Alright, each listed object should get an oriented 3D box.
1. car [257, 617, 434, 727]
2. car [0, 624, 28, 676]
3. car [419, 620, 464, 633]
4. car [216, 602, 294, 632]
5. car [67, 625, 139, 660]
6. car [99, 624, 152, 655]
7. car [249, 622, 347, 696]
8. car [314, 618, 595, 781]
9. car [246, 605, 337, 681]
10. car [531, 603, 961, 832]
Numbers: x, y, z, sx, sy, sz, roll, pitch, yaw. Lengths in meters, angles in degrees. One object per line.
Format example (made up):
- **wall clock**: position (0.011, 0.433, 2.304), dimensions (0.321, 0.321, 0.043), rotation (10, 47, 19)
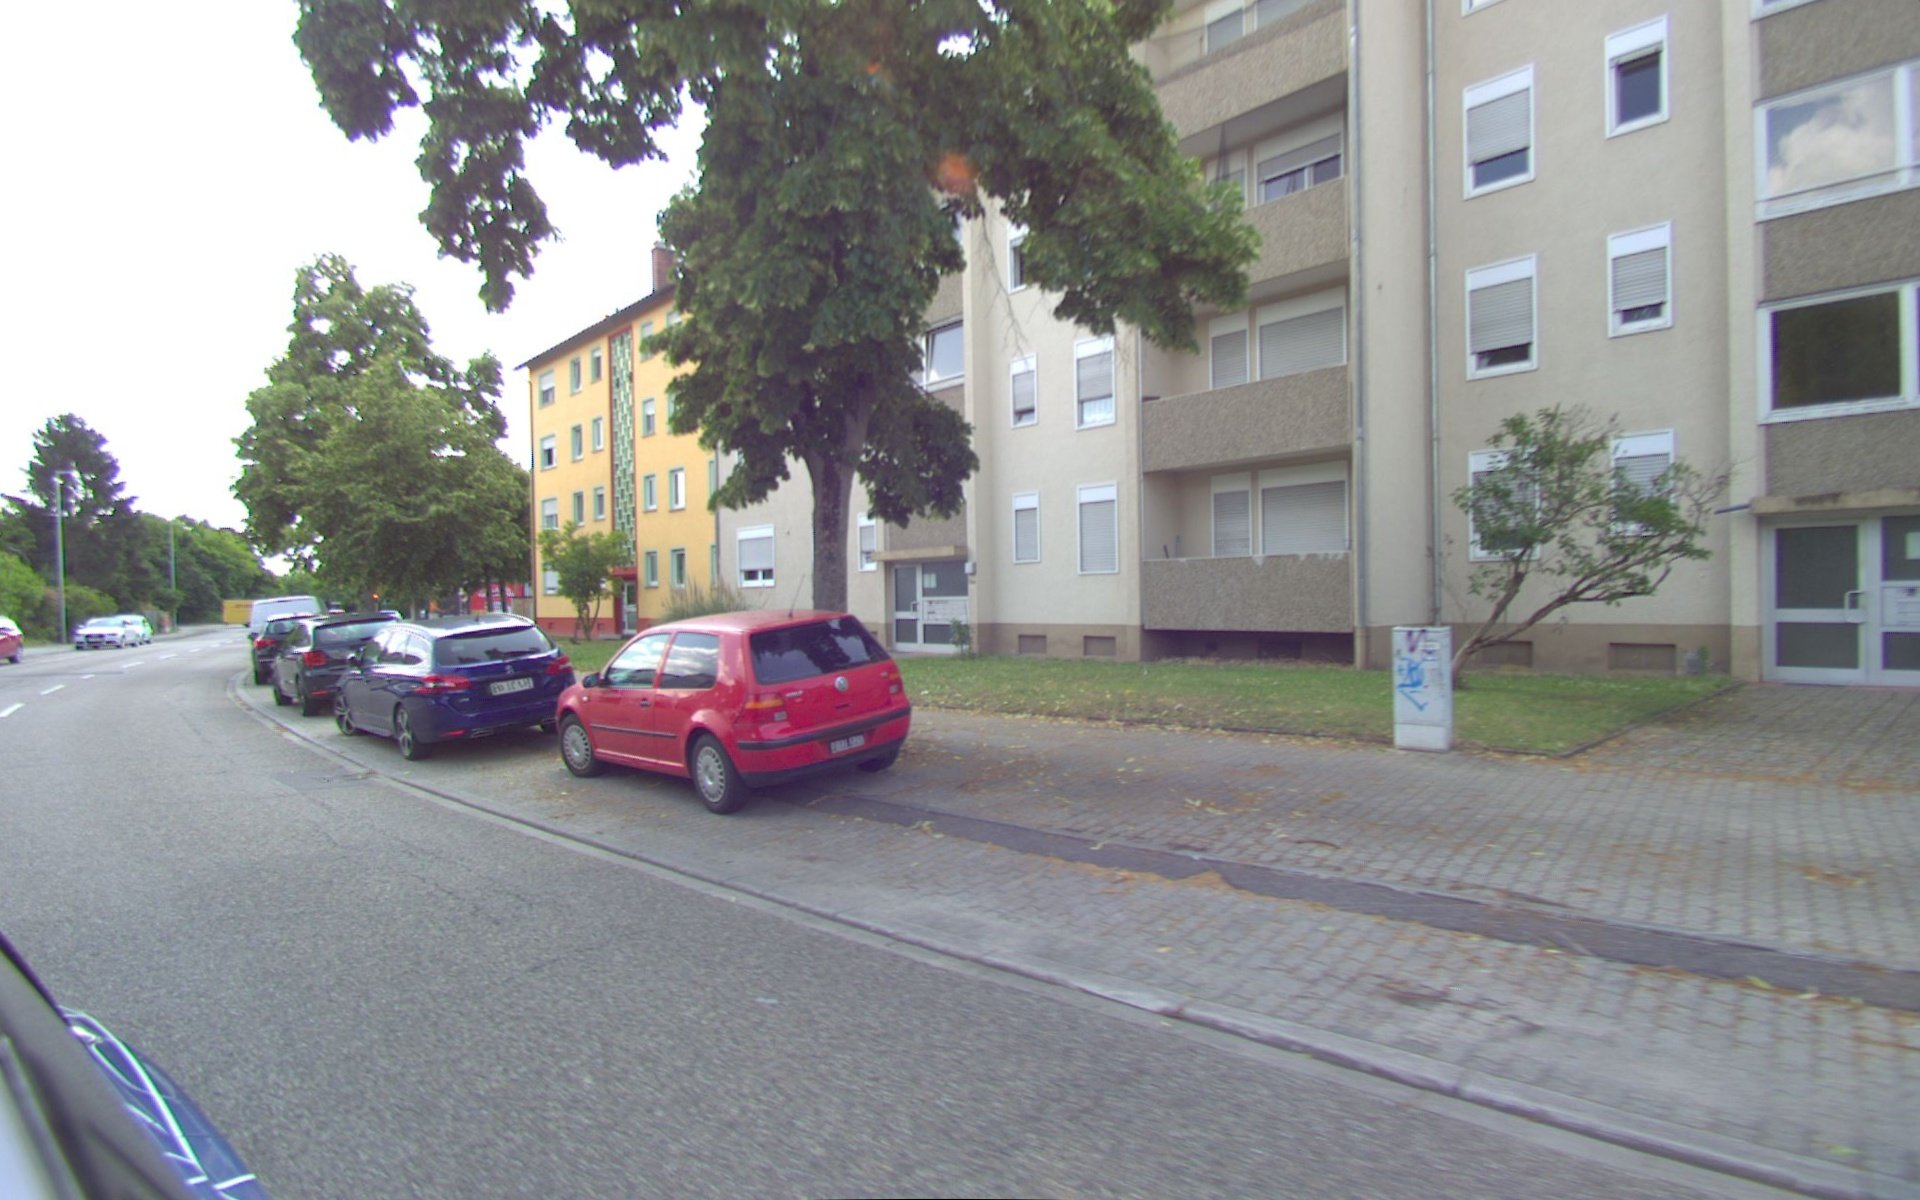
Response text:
- **car**: position (-10.219, 1.094, 16.697), dimensions (1.739, 1.500, 4.038), rotation (-3, 0, -42)
- **car**: position (-30.569, 1.545, 31.132), dimensions (1.824, 1.591, 4.746), rotation (-1, -1, -31)
- **car**: position (-61.425, 3.145, 119.906), dimensions (4.465, 1.469, 1.731), rotation (-1, -1, -42)
- **car**: position (-74.772, 1.810, 107.379), dimensions (6.423, 2.891, 2.498), rotation (-2, 0, -44)
- **car**: position (-39.139, 1.920, 46.288), dimensions (1.697, 1.498, 3.761), rotation (-1, -1, -27)
- **car**: position (-43.476, 2.035, 52.778), dimensions (1.559, 1.531, 3.766), rotation (-1, -1, -30)
- **car**: position (-15.379, 1.282, 23.525), dimensions (1.736, 1.500, 4.516), rotation (-1, -1, -34)
- **car**: position (-6.266, 1.022, 12.258), dimensions (1.740, 1.500, 4.574), rotation (-3, 1, -44)
- **car**: position (-19.519, 1.211, 29.733), dimensions (1.853, 2.025, 5.338), rotation (0, -1, -30)
- **car**: position (-2.071, 0.835, 8.919), dimensions (1.815, 1.449, 4.095), rotation (-4, 1, -43)
